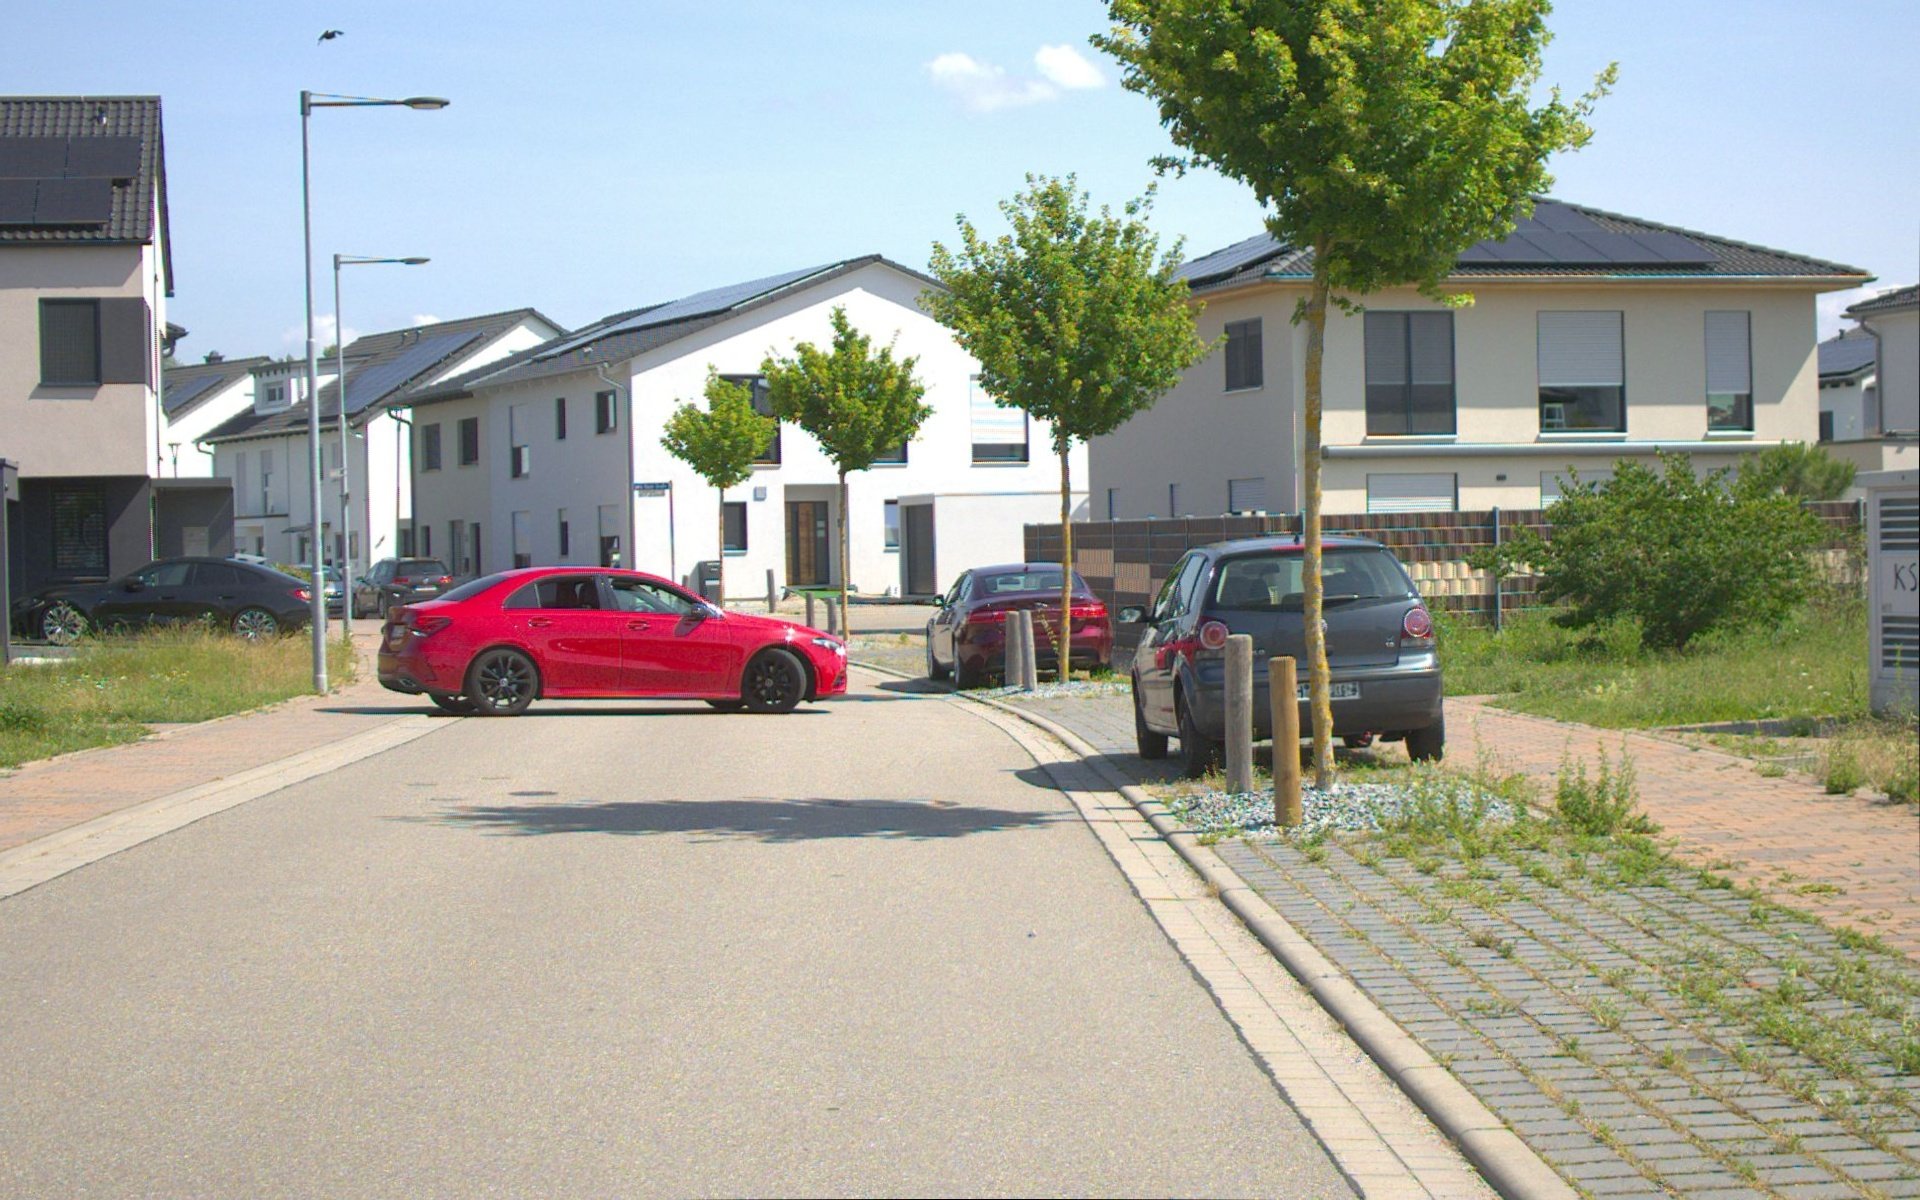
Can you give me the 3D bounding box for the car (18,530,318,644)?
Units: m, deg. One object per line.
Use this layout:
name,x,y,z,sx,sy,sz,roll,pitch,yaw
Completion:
car,-12.142,-0.203,52.938,4.374,1.626,1.771,1,0,-10

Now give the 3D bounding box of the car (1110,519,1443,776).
car,1.980,0.256,22.449,1.598,1.470,3.675,-3,1,-3

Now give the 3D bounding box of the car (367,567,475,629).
car,-13.107,-0.058,83.380,1.726,1.418,4.001,-2,1,-21

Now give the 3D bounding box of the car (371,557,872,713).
car,-3.272,0.305,33.245,4.503,1.433,1.769,0,1,-22

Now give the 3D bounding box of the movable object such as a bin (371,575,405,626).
movable object such as a bin,-10.532,0.009,63.346,0.534,0.933,0.526,1,1,-1

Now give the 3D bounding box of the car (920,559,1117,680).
car,0.643,0.200,41.383,1.754,1.358,4.577,0,1,-7

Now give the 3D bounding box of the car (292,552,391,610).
car,-16.655,-0.513,92.469,1.676,1.459,3.945,-2,1,-24

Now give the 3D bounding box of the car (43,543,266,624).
car,-15.303,-0.327,65.479,3.986,1.481,1.755,-1,1,-8
